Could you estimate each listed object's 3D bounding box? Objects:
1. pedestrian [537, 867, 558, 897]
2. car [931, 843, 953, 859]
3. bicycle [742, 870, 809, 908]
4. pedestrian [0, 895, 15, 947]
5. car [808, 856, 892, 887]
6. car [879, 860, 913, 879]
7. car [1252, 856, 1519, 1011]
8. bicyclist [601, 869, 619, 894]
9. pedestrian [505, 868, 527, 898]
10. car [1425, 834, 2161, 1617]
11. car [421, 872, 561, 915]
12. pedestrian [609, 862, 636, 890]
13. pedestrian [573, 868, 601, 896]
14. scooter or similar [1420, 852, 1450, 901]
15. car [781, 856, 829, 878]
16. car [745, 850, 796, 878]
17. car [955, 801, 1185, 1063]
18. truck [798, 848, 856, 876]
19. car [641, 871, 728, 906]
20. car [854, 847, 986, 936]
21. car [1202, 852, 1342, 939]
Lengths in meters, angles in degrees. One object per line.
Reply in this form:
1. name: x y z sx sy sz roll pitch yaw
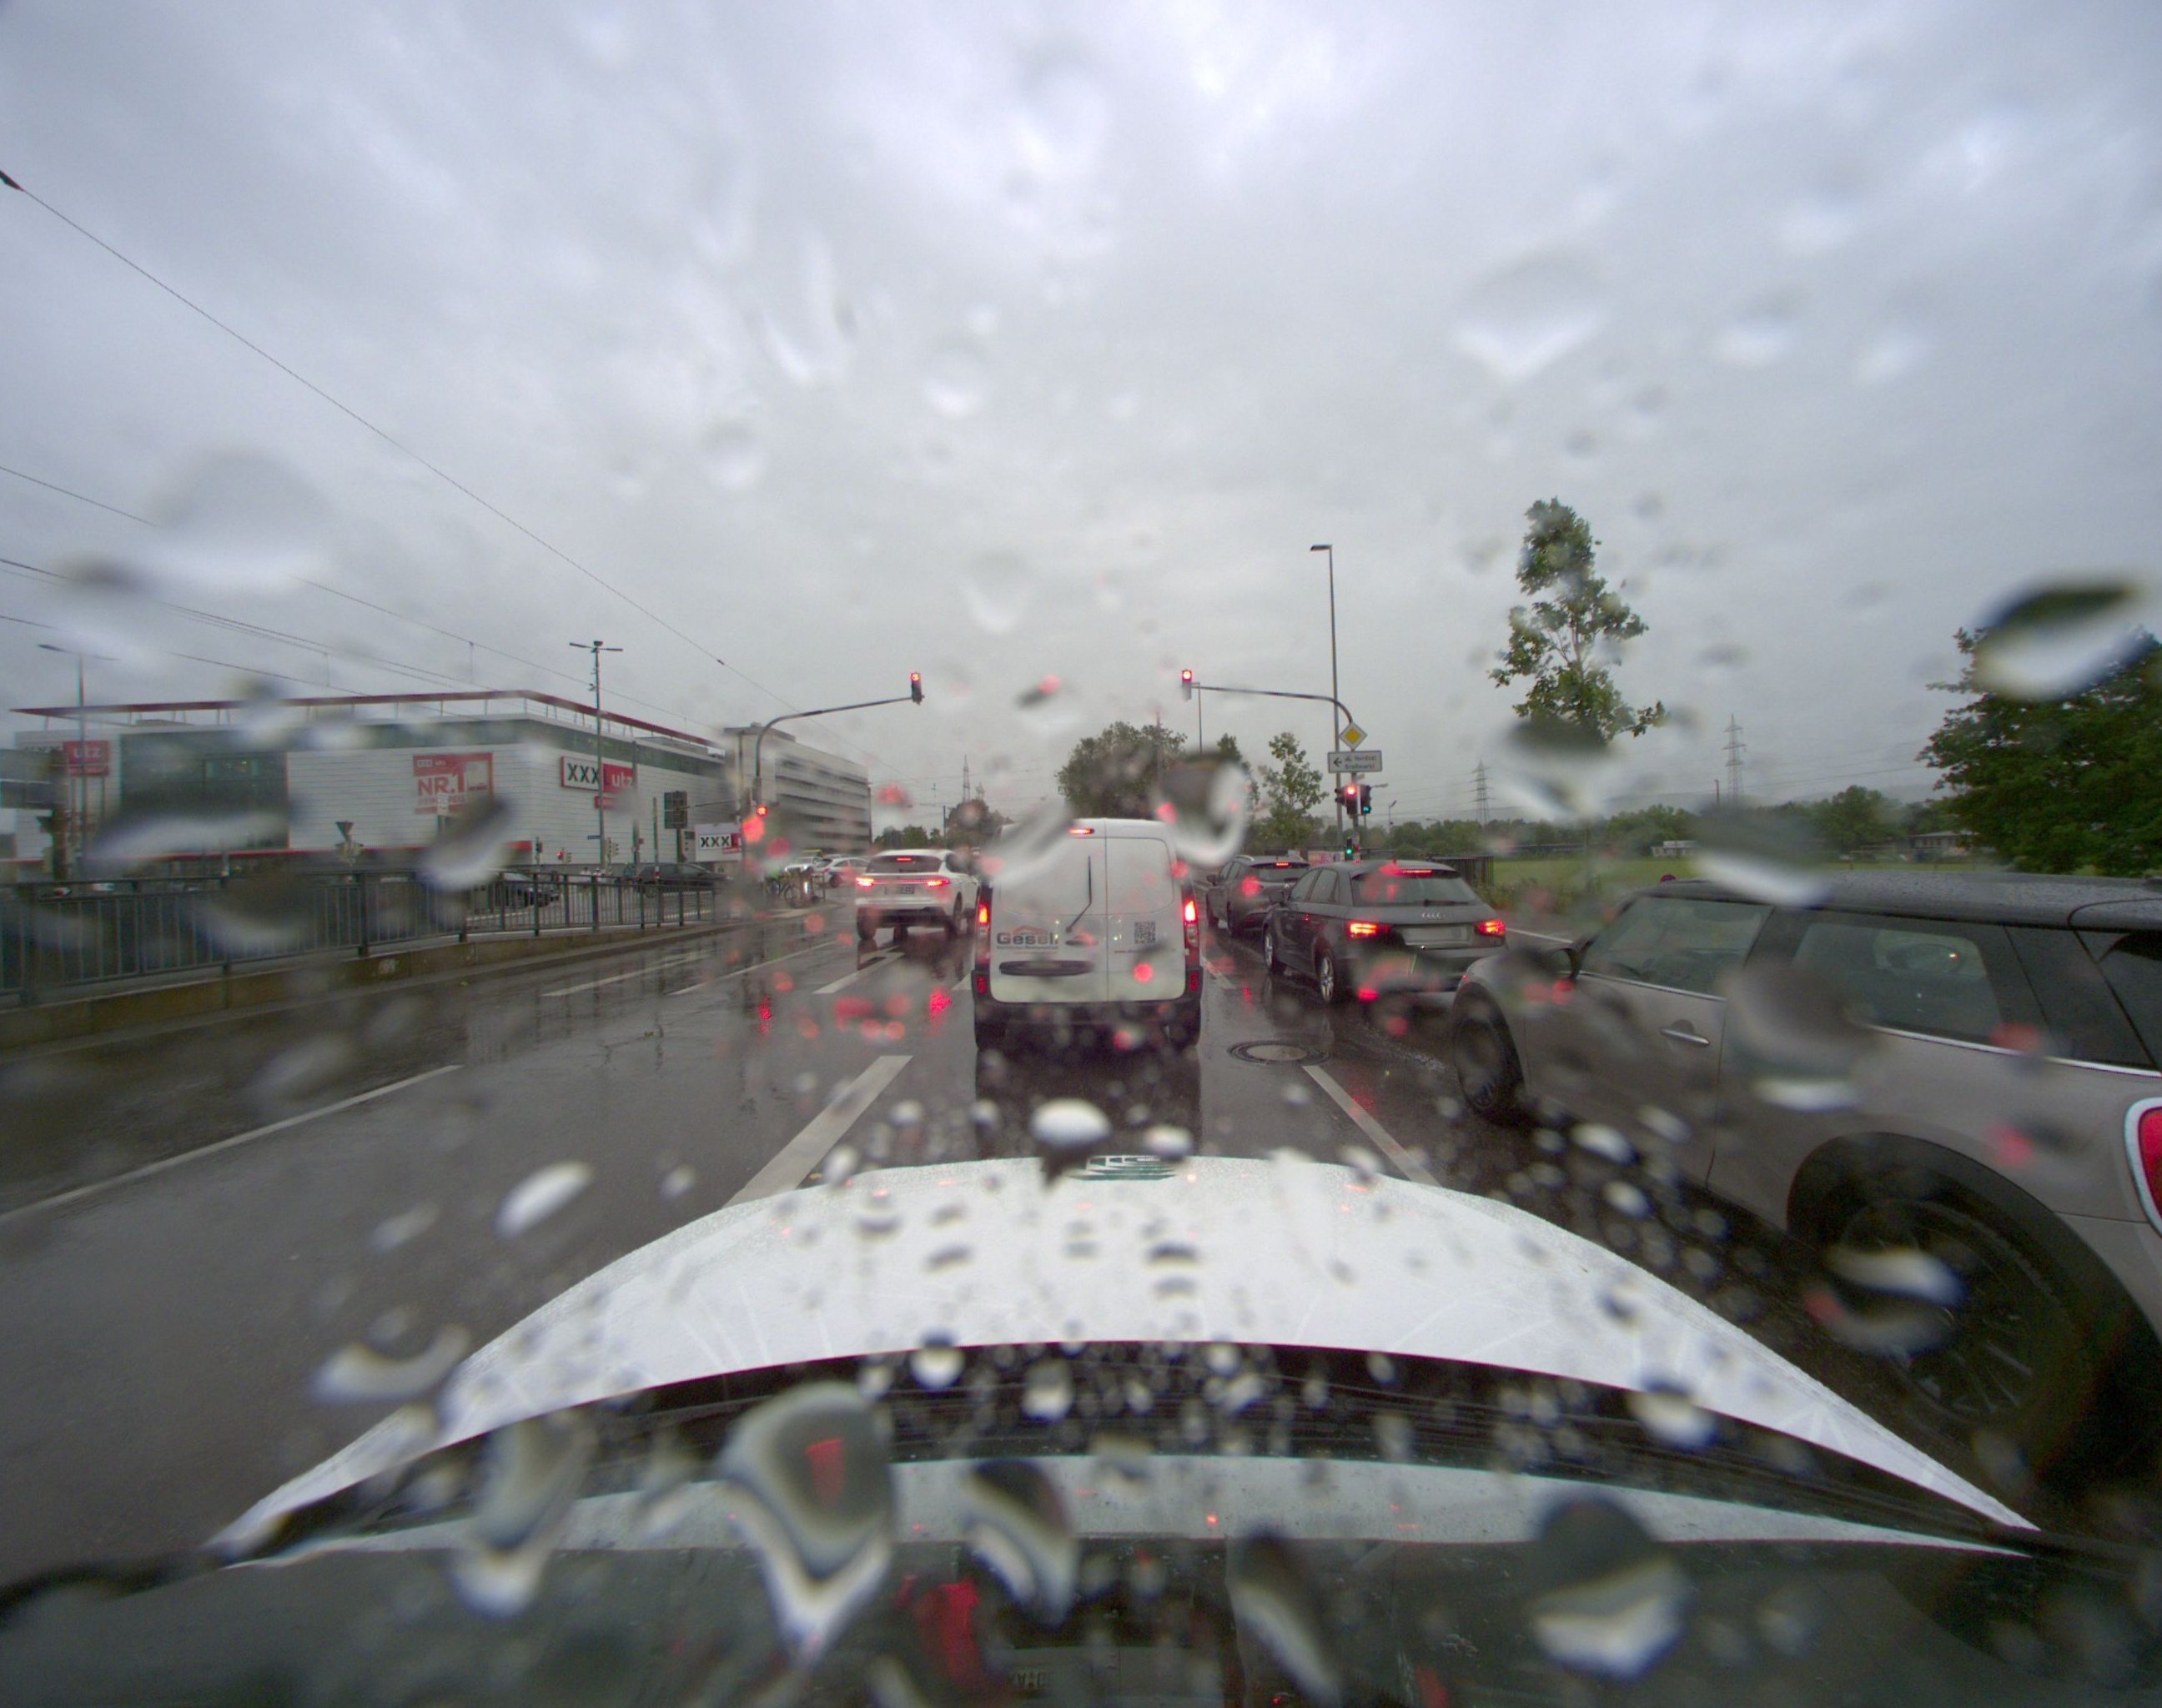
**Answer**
1. pedestrian: -29.770 1.569 45.446 0.701 1.632 0.918 0 -1 -10
2. car: -17.847 -0.379 104.670 1.985 2.014 4.003 0 -1 3
3. bicycle: -8.922 1.020 23.793 1.745 1.034 0.414 2 -1 0
4. pedestrian: -32.420 2.002 24.095 0.561 1.537 0.872 0 -1 1
5. car: -11.518 0.847 40.731 3.735 1.503 1.600 0 -1 -42
6. car: -17.672 1.456 78.012 1.919 1.827 4.007 0 -1 6
7. car: 3.050 0.709 8.962 1.623 1.344 3.624 0 0 1
8. bicyclist: -28.719 1.664 49.676 0.681 1.464 0.647 0 -1 3
9. pedestrian: -31.355 1.628 45.211 0.701 1.632 0.918 0 -1 -10
10. car: 2.955 0.710 3.218 1.707 1.508 3.624 0 0 1
11. car: -21.609 1.418 29.983 3.864 1.422 1.501 0 -1 -18
12. pedestrian: -26.648 1.259 47.365 0.912 1.632 1.015 -1 -1 12
13. pedestrian: -30.179 1.699 49.763 1.015 1.632 1.090 -1 -1 17
14. scooter or similar: 8.458 0.527 19.487 0.244 1.158 1.187 0 -1 3
15. car: -19.521 0.919 57.746 1.689 1.492 3.884 0 -1 7
16. car: -23.075 0.765 60.692 1.983 2.014 4.007 0 -1 6
17. car: -0.011 0.551 7.626 1.560 1.788 4.002 -1 0 2
18. truck: -22.106 0.668 71.220 2.342 2.279 7.637 0 0 2
19. car: -17.332 1.467 35.752 3.362 1.422 1.456 0 -1 -25
20. car: -3.044 0.641 16.295 1.723 1.535 4.298 0 0 1
21. car: 3.490 0.687 15.582 1.853 1.428 3.808 0 0 1
